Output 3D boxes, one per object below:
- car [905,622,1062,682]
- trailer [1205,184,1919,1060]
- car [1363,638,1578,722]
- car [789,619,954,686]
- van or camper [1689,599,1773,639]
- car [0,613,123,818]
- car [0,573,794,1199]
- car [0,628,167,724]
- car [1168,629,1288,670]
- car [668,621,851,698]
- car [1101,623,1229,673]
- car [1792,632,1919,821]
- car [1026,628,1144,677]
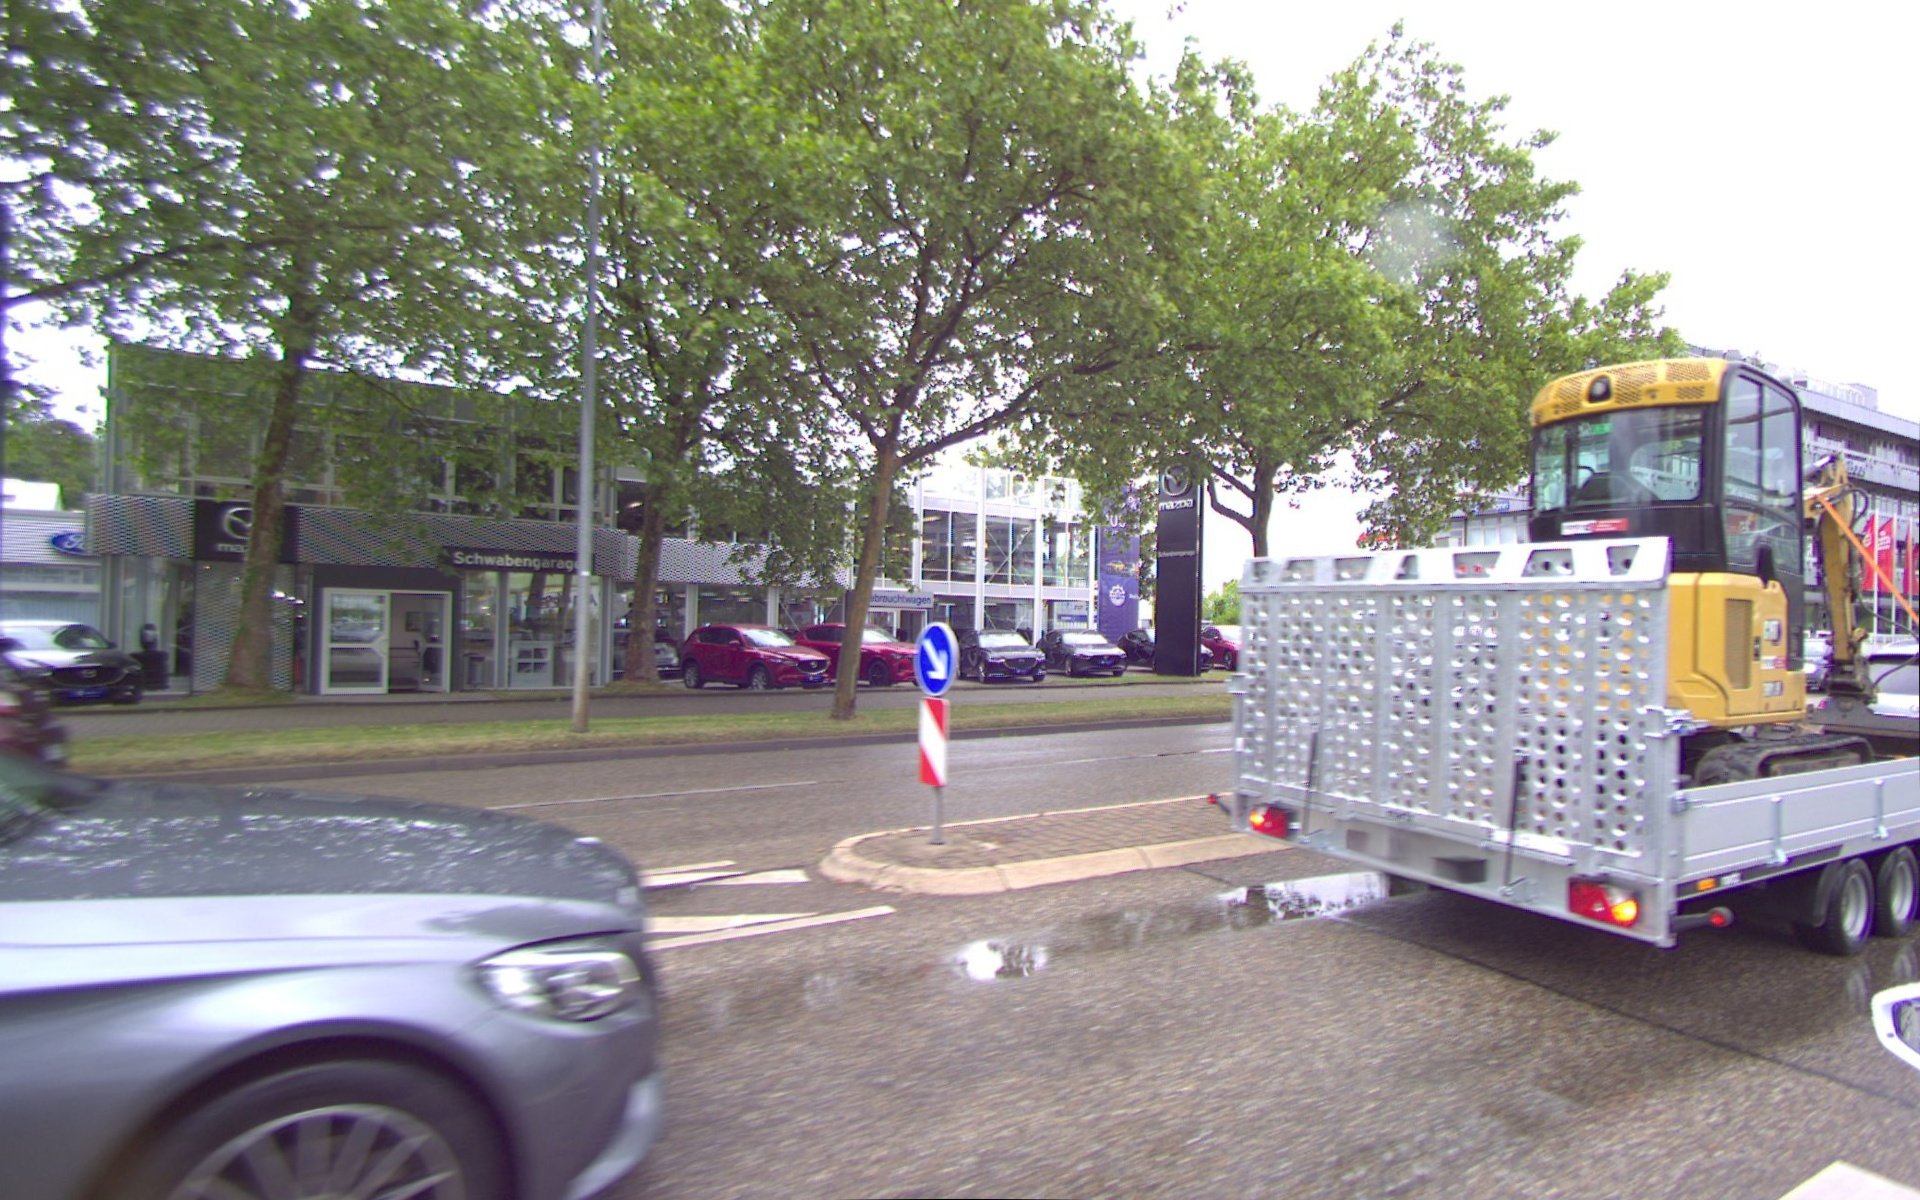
[{"bbox_3d":[0.636,1.472,28.864,4.165,1.617,1.993,-2,-3,37],"label":"car"},{"bbox_3d":[4.254,0.160,5.832,5.484,2.935,2.360,2,-2,-32],"label":"trailer"},{"bbox_3d":[9.509,1.434,18.631,4.129,1.401,1.701,2,-4,-33],"label":"car"},{"bbox_3d":[-2.429,1.394,27.043,4.165,1.674,2.005,-2,-3,37],"label":"car"},{"bbox_3d":[41.960,1.029,54.659,4.734,1.993,1.983,2,0,-31],"label":"van or camper"},{"bbox_3d":[-8.752,0.835,7.160,4.041,1.484,1.700,2,-4,-33],"label":"car"},{"bbox_3d":[-2.792,0.709,1.952,4.499,1.448,1.985,1,-3,-30],"label":"car"},{"bbox_3d":[-16.361,1.268,17.996,4.390,1.469,1.996,0,-2,32],"label":"car"},{"bbox_3d":[8.900,1.631,33.615,1.673,1.311,3.717,1,-2,-34],"label":"car"},{"bbox_3d":[-5.042,1.400,24.970,4.497,1.617,1.992,1,-1,38],"label":"car"},{"bbox_3d":[6.604,1.507,32.707,1.860,1.508,3.954,1,-2,-34],"label":"car"},{"bbox_3d":[9.597,1.056,9.053,4.725,1.477,1.757,2,-2,-31],"label":"car"},{"bbox_3d":[3.871,1.603,31.566,1.673,1.409,3.717,1,-2,-34],"label":"car"}]
